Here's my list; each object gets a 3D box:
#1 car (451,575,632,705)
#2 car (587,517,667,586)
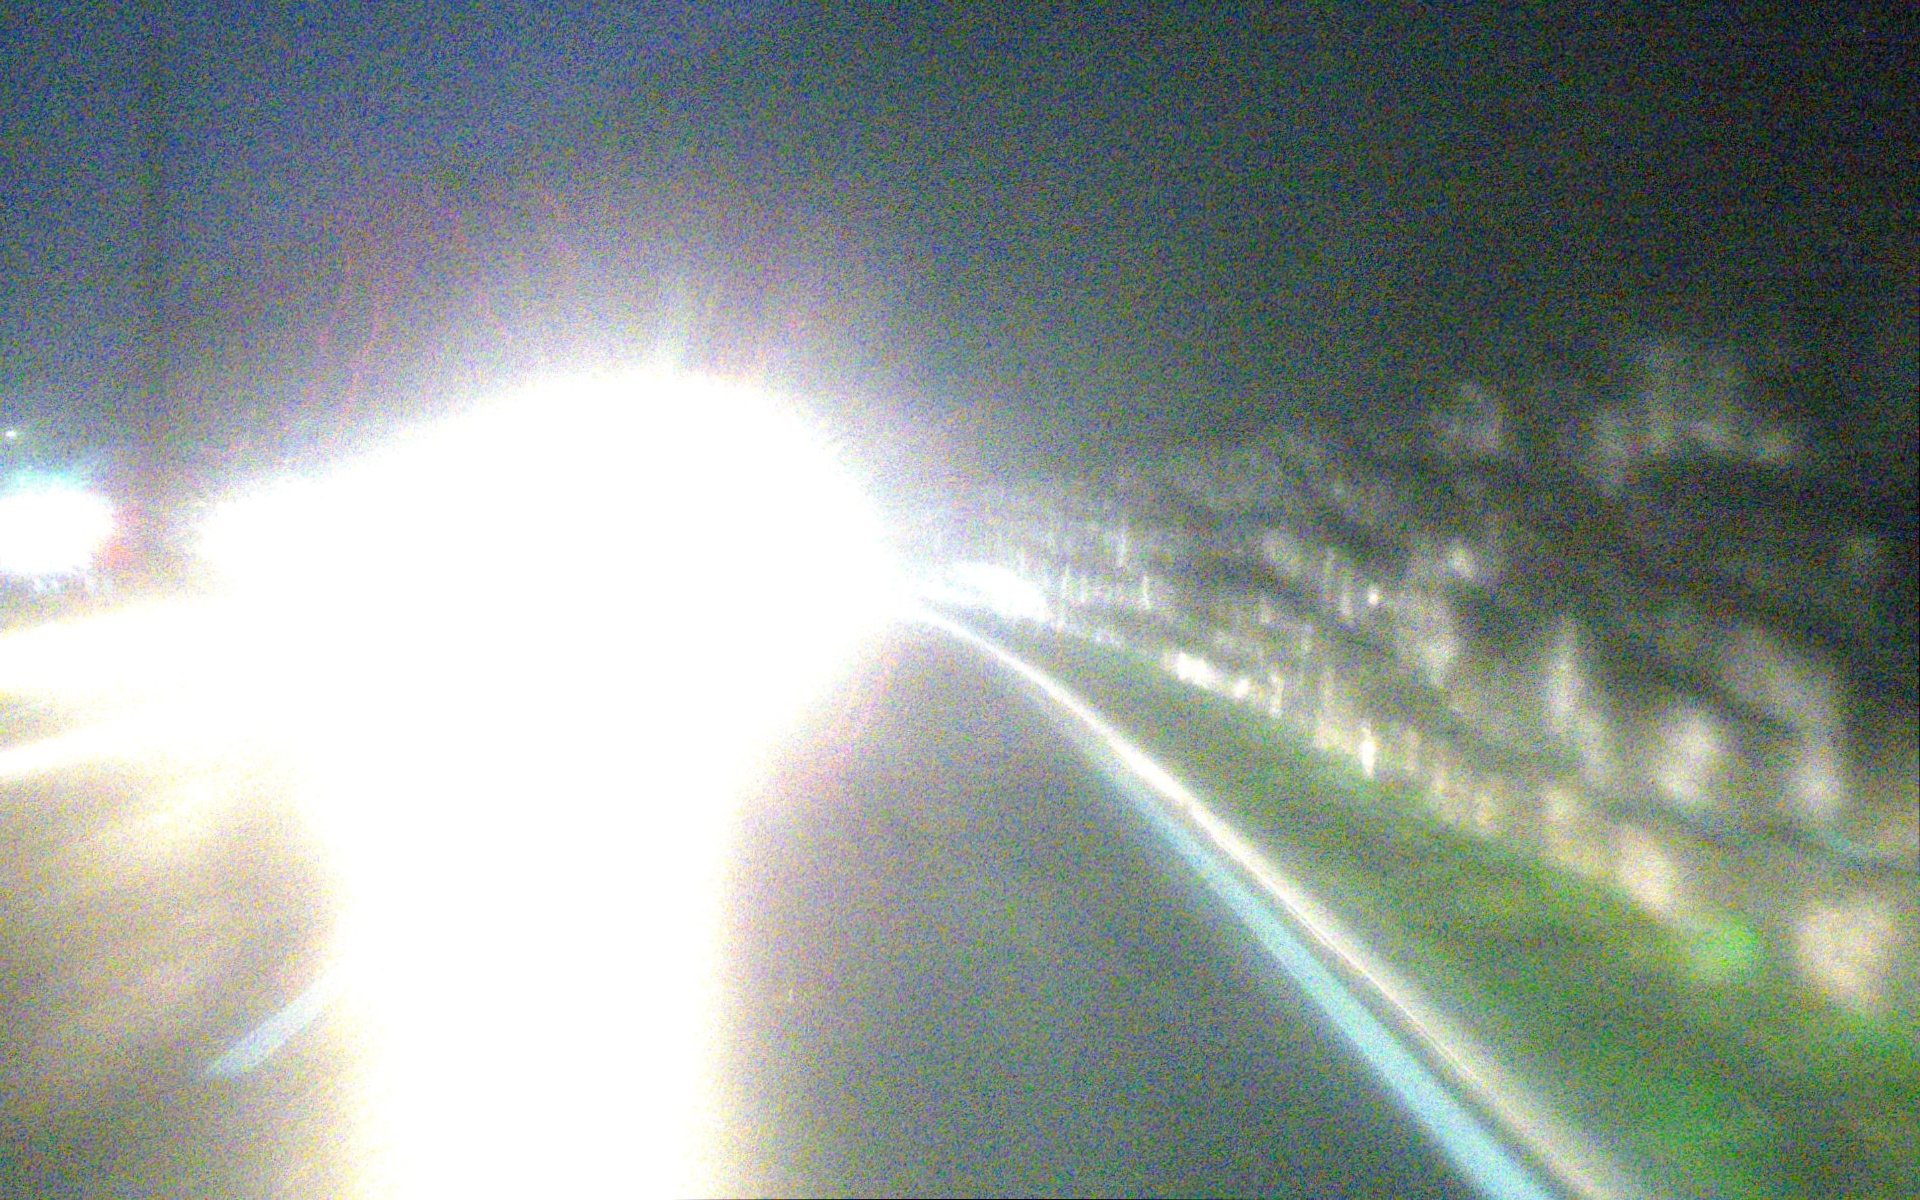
[{"bbox_3d":[-4.857,0.433,40.347,1.711,1.413,4.066,0,1,-1],"label":"car"},{"bbox_3d":[-7.682,-1.116,79.540,1.636,1.514,3.771,-1,1,-3],"label":"car"}]
